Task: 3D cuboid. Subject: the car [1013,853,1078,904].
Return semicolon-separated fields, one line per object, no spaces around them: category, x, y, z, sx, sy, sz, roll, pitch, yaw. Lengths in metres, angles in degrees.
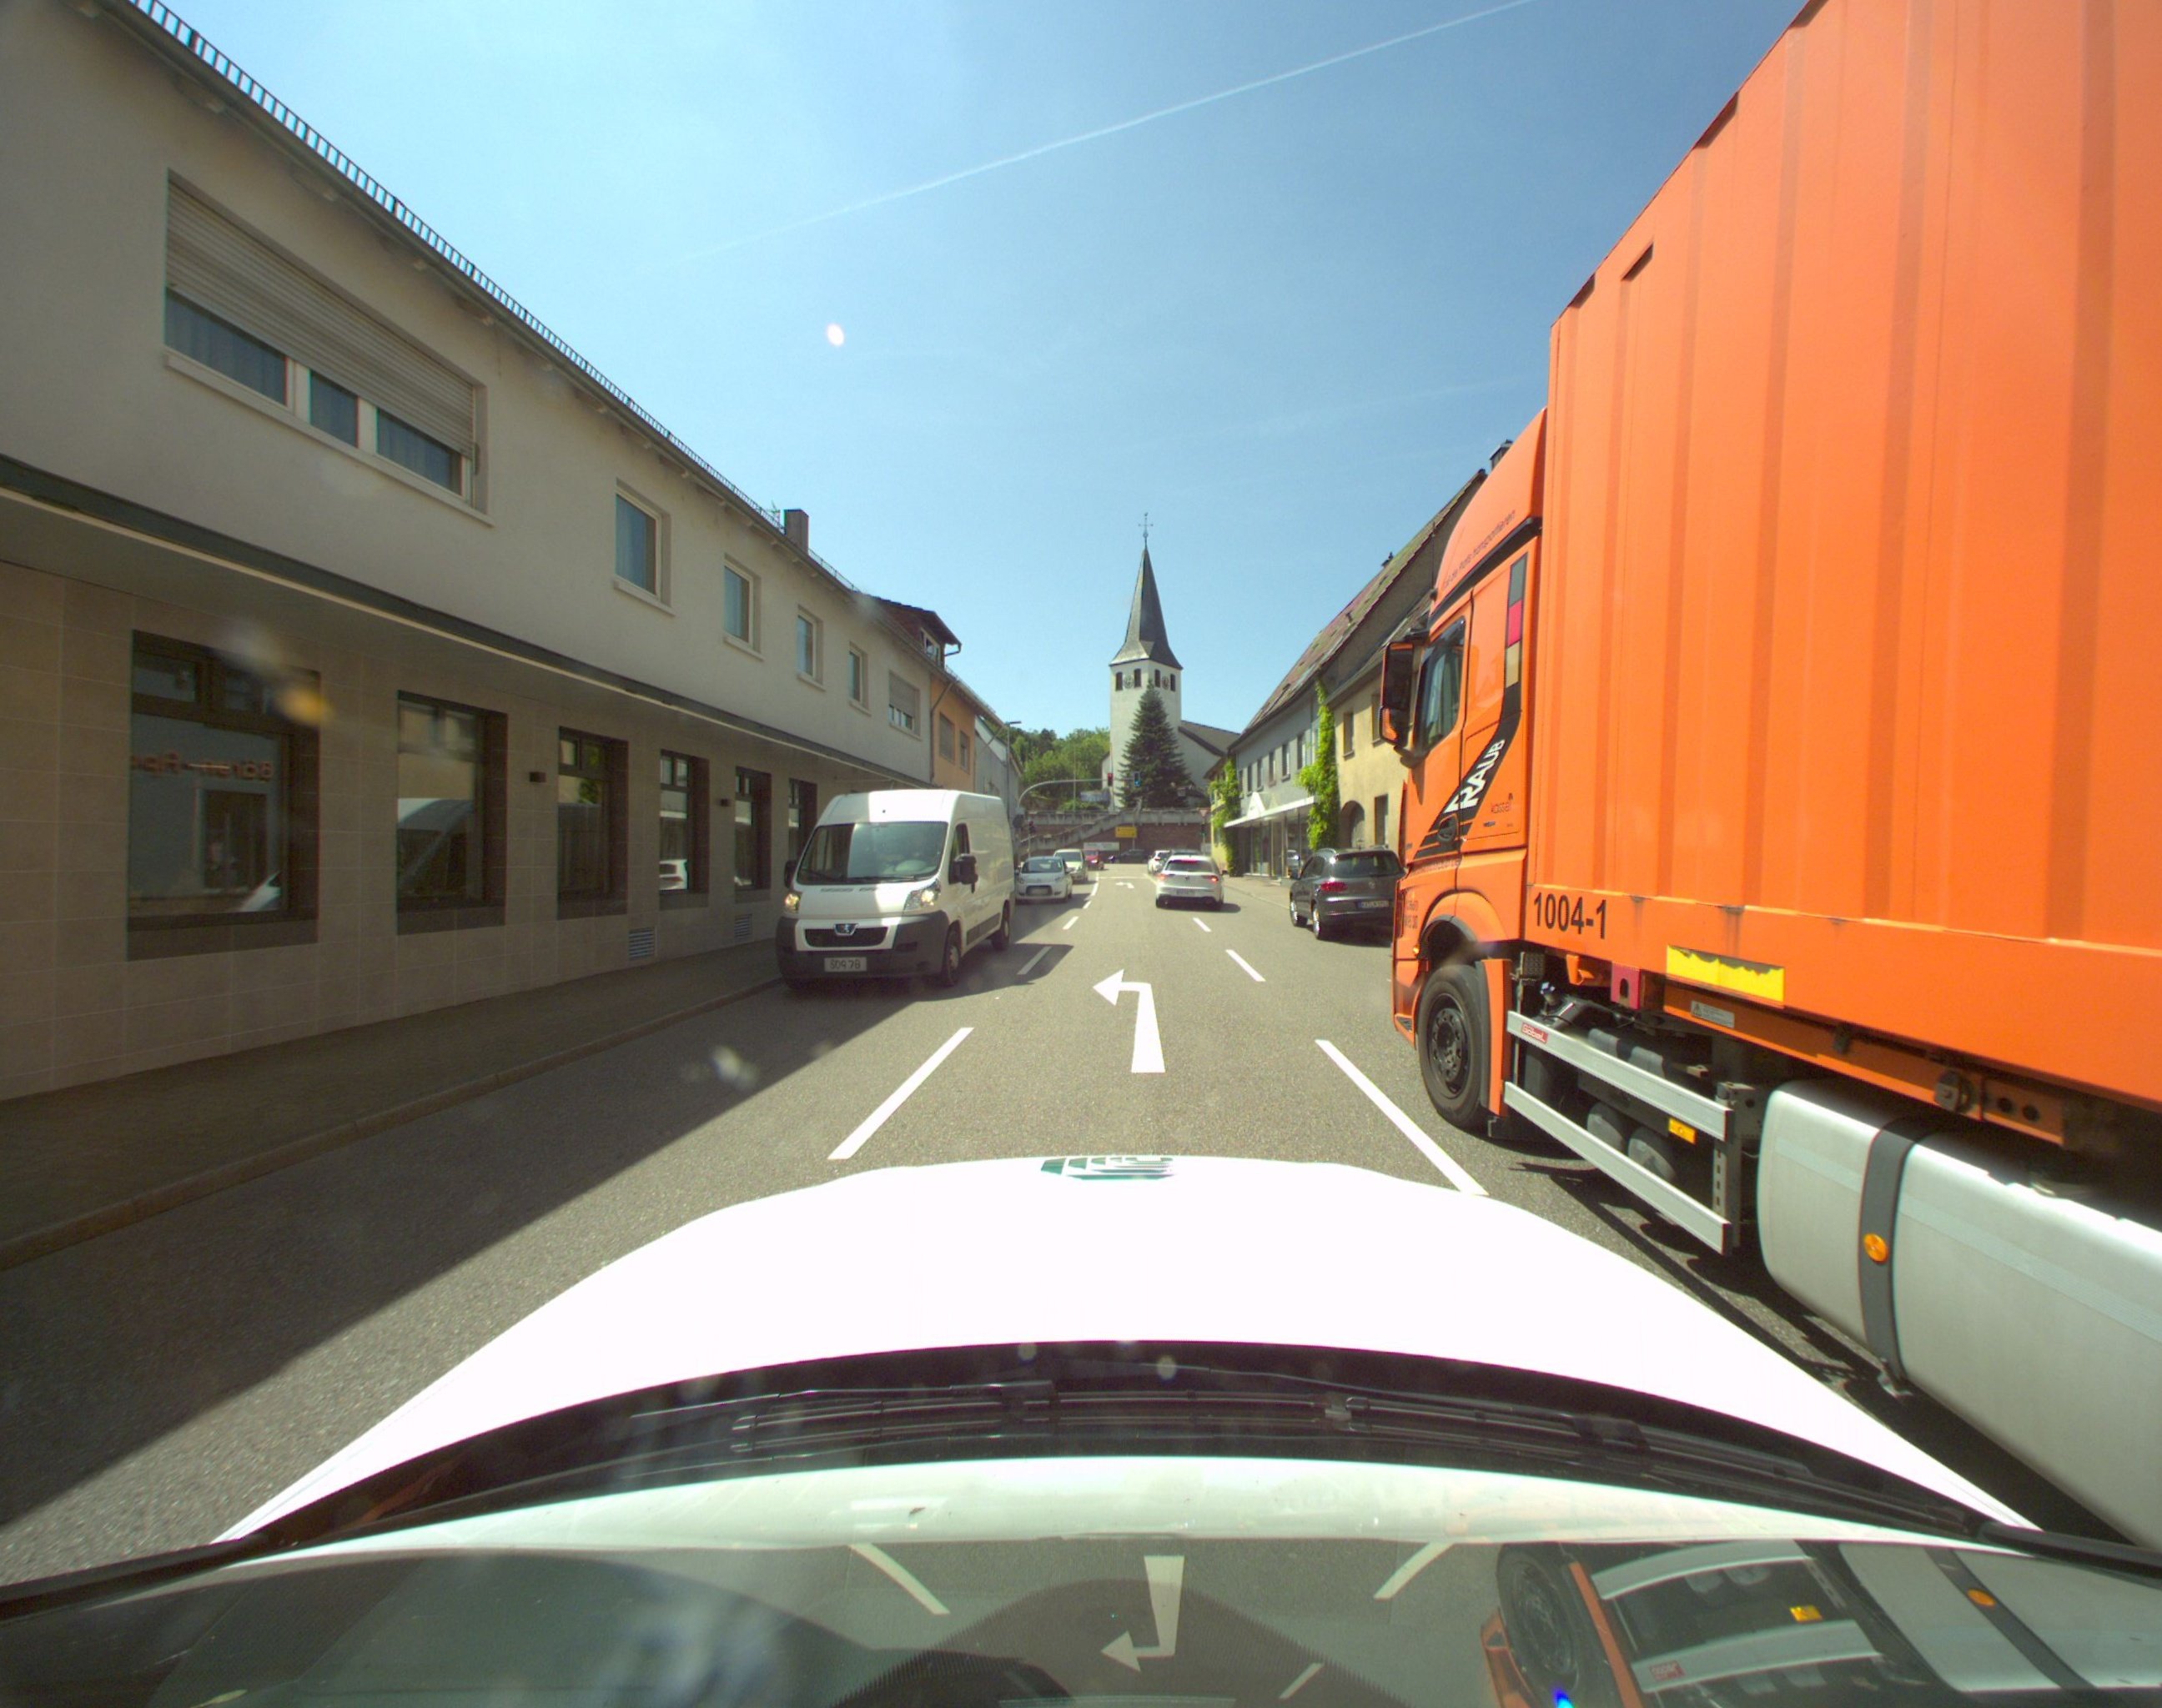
car;-1.084;0.743;26.295;1.589;1.455;3.452;-2;0;5

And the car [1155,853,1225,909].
car;3.170;0.696;23.126;1.771;1.458;3.874;0;0;11

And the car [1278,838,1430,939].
car;5.281;0.612;16.335;1.984;1.708;4.107;-2;0;6

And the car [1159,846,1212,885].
car;4.776;0.491;37.674;1.943;1.582;4.327;0;2;0

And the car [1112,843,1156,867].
car;4.940;0.101;76.425;3.974;2.014;2.000;2;-1;0

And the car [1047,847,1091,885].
car;-0.513;0.529;38.451;1.672;1.617;3.825;-2;1;4

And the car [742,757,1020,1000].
car;-2.378;0.264;11.526;2.130;2.569;5.400;-2;0;5

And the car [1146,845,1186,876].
car;4.930;0.343;47.727;1.943;1.582;4.327;0;2;0

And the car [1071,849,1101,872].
car;0.370;0.402;55.460;1.709;1.408;4.290;-2;1;5

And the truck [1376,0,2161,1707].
truck;3.148;-0.480;1.255;2.596;3.945;10.006;0;0;5
